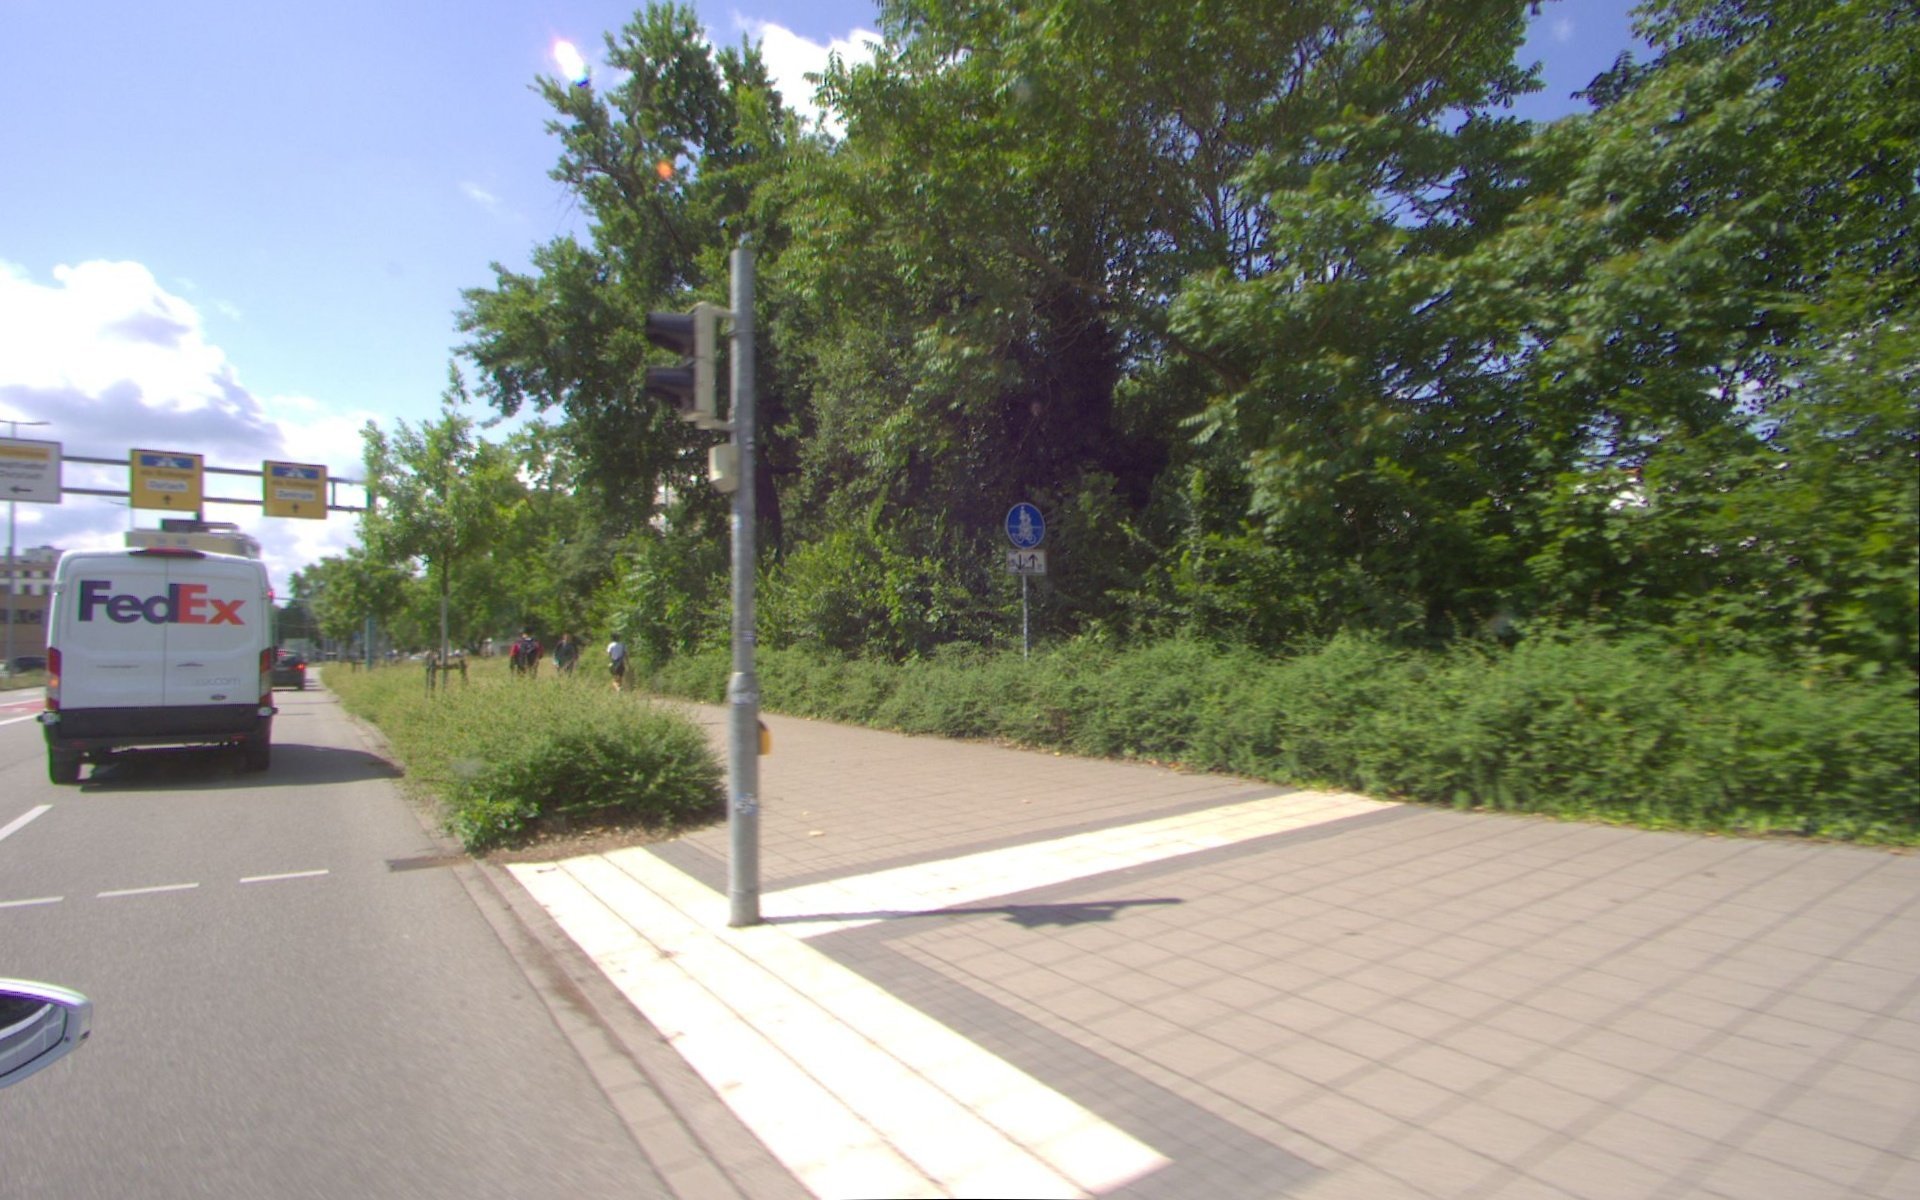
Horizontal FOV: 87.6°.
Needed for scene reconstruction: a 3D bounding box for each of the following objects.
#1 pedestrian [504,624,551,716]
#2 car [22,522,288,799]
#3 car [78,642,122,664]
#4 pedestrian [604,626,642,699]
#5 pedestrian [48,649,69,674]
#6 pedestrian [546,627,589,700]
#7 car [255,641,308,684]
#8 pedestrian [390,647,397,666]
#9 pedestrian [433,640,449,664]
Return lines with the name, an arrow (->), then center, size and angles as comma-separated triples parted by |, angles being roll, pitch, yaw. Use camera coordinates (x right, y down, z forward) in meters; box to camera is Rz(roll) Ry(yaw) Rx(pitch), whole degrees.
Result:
pedestrian -> -8.428, 1.345, 19.515 | 0.709, 1.743, 0.832 | 1, -2, -33
car -> -9.900, 0.702, 12.657 | 2.121, 2.686, 5.665 | 1, -2, -36
car -> -85.131, 5.261, 99.151 | 1.966, 2.038, 3.993 | 0, -3, -20
pedestrian -> -8.151, 1.502, 24.220 | 0.715, 1.743, 0.742 | 1, -2, -34
pedestrian -> -57.020, 3.881, 63.354 | 0.547, 1.580, 0.872 | -1, -2, 30
pedestrian -> -9.560, 1.536, 24.376 | 0.805, 1.743, 0.924 | 1, -2, -34
car -> -29.566, 2.698, 43.648 | 1.795, 1.756, 4.361 | 2, -3, -34
pedestrian -> -39.972, 3.990, 70.696 | 0.355, 1.275, 0.389 | 1, -3, -41
pedestrian -> -34.168, 3.414, 65.949 | 0.837, 1.558, 0.830 | 1, -2, -35
